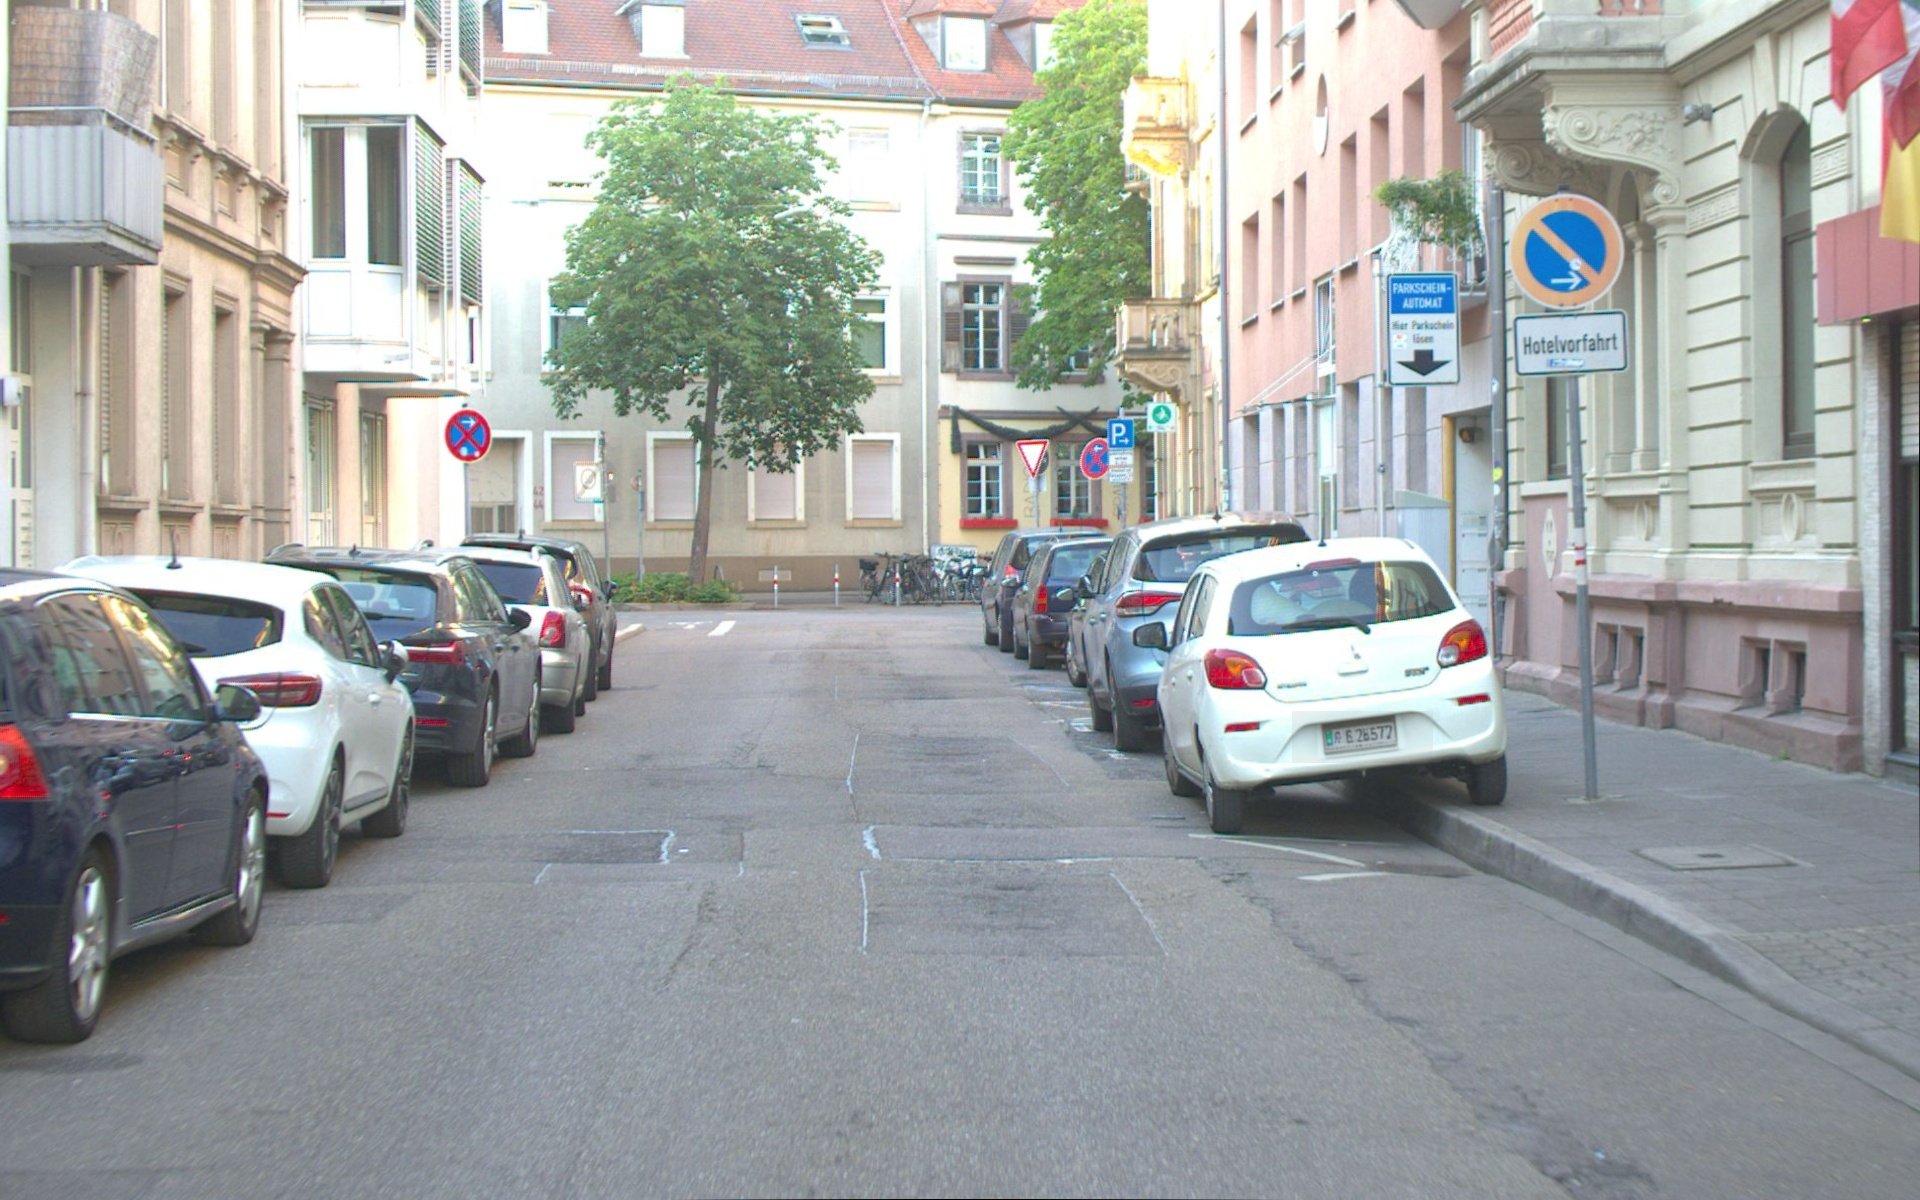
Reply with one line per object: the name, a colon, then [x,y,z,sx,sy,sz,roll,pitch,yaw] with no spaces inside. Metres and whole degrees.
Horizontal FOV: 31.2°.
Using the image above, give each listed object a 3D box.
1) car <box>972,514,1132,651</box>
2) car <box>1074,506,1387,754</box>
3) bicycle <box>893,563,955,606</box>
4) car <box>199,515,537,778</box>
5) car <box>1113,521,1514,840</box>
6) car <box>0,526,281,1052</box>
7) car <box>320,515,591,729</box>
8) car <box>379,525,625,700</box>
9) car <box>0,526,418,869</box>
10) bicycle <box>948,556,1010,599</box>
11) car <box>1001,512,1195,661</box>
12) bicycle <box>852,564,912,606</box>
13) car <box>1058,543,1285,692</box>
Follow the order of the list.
car: [1.206,-0.267,46.731,1.993,1.755,4.000,-1,1,-1]
car: [1.963,0.169,26.089,1.993,1.726,4.059,0,1,-1]
bicycle: [-0.816,-0.344,77.190,0.518,0.891,1.725,-2,3,-34]
car: [-3.850,0.228,22.974,1.614,1.565,4.304,0,2,-2]
car: [1.910,0.373,19.623,1.662,1.453,3.759,-6,2,-1]
car: [-3.555,0.516,11.905,1.728,1.503,3.831,0,2,-2]
car: [-4.172,0.121,29.053,1.993,1.661,4.410,0,1,-5]
car: [-4.602,0.079,35.099,1.993,1.657,3.978,-1,1,-1]
car: [-3.738,0.389,16.928,1.630,1.467,3.755,0,2,-2]
bicycle: [0.427,-0.510,77.813,0.518,0.945,1.725,-1,1,-34]
car: [1.618,-0.197,41.661,1.993,1.703,4.001,-1,1,-3]
bicycle: [-1.790,-0.336,78.634,0.518,0.945,1.725,0,0,-34]
car: [2.067,0.133,34.536,1.993,1.379,3.707,-1,1,-1]
